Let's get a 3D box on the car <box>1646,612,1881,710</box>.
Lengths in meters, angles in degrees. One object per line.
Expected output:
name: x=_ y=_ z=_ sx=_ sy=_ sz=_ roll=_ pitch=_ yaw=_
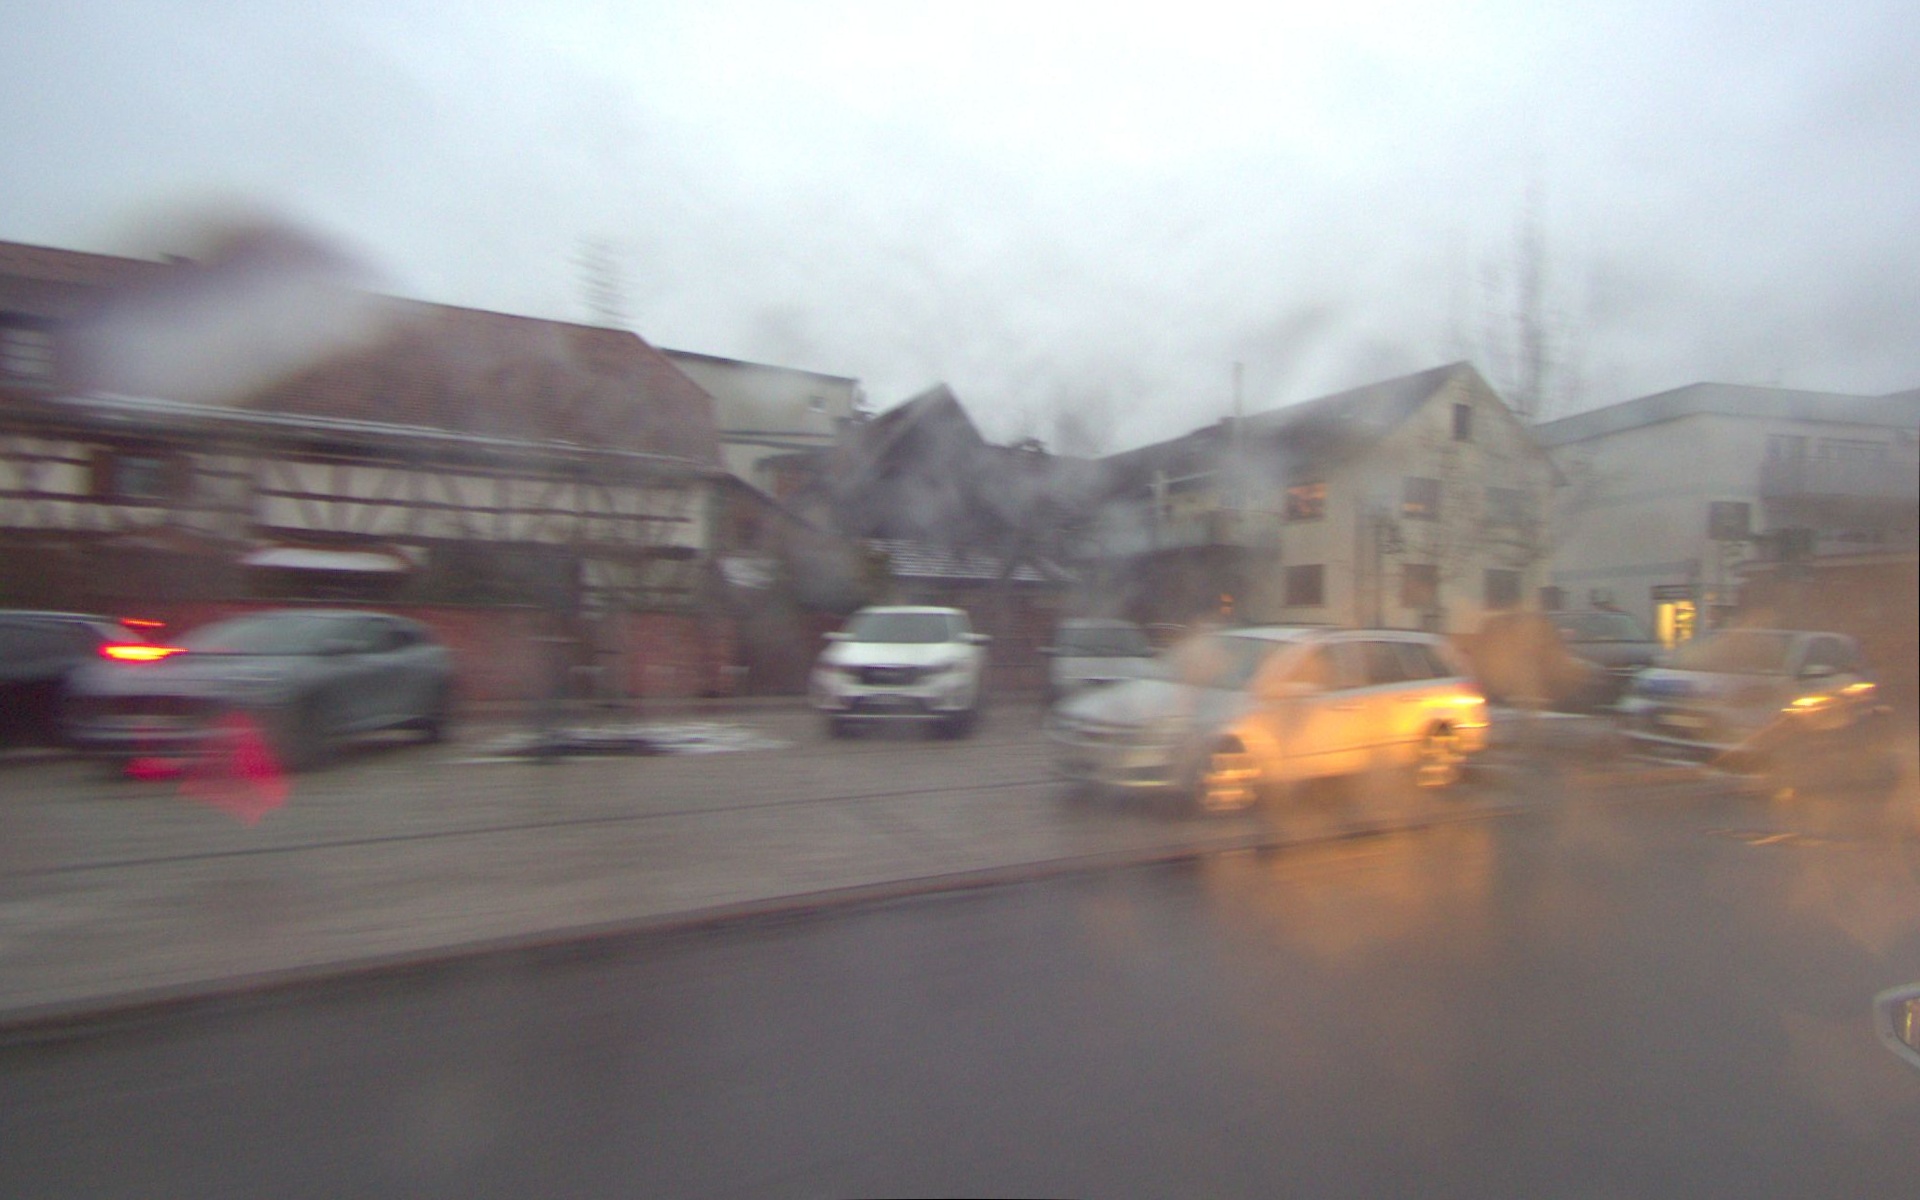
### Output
car: x=17.267 y=1.277 z=21.825 sx=1.729 sy=1.929 sz=3.715 roll=0 pitch=-2 yaw=-13

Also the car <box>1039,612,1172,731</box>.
car: x=2.126 y=1.068 z=15.669 sx=1.686 sy=1.603 sz=4.116 roll=0 pitch=-3 yaw=3

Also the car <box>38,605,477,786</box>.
car: x=-6.786 y=0.865 z=10.357 sx=1.723 sy=1.478 sz=4.074 roll=1 pitch=-2 yaw=-2

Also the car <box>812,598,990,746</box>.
car: x=-0.622 y=0.925 z=13.977 sx=1.948 sy=1.675 sz=4.659 roll=1 pitch=-2 yaw=3

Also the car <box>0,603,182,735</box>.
car: x=-13.493 y=0.919 z=13.947 sx=3.948 sy=1.751 sz=1.709 roll=1 pitch=-1 yaw=-27

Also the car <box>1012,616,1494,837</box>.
car: x=2.717 y=0.938 z=9.034 sx=4.210 sy=1.554 sz=1.894 roll=1 pitch=-1 yaw=-33

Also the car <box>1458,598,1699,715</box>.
car: x=11.551 y=1.078 z=19.327 sx=2.032 sy=1.910 sz=5.403 roll=-1 pitch=-3 yaw=10

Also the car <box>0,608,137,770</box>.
car: x=-9.580 y=0.802 z=8.677 sx=1.728 sy=1.478 sz=3.934 roll=-1 pitch=-2 yaw=-1

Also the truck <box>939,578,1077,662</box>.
truck: x=1.732 y=0.748 z=39.093 sx=2.751 sy=2.991 sz=5.816 roll=1 pitch=-1 yaw=-28

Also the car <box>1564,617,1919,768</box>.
car: x=9.271 y=1.005 z=11.940 sx=3.623 sy=1.556 sz=1.829 roll=1 pitch=-1 yaw=-23
